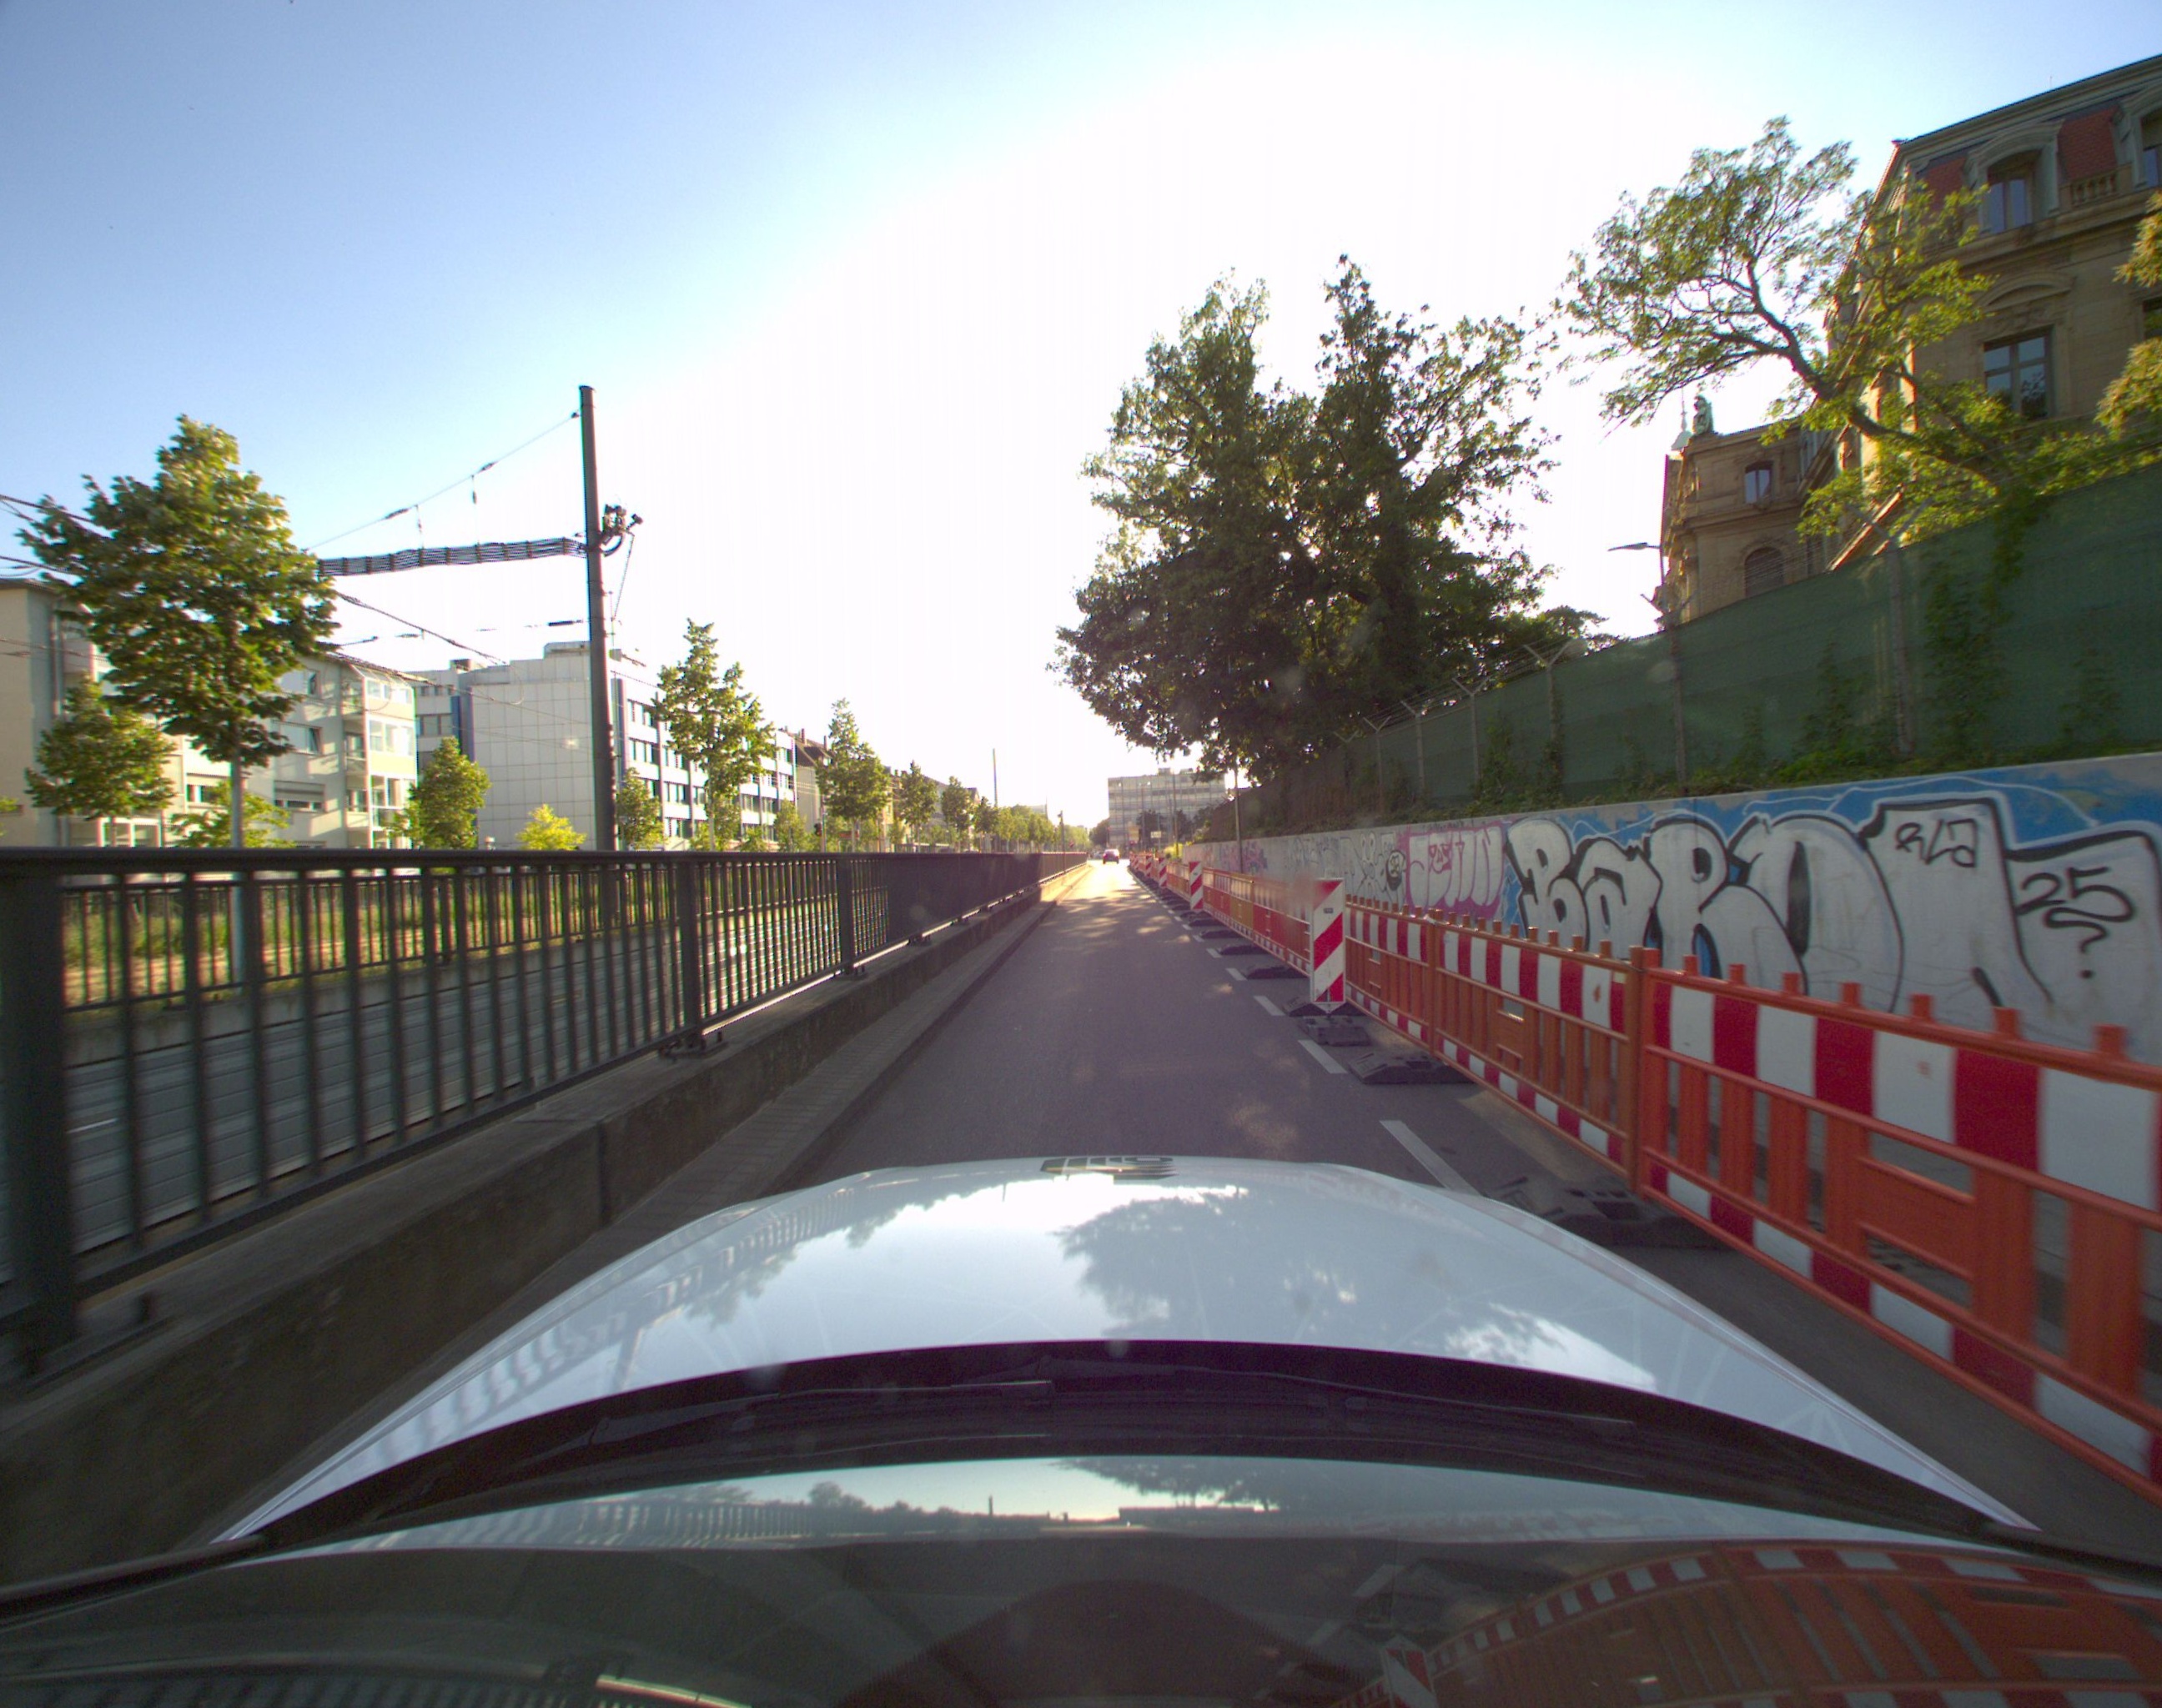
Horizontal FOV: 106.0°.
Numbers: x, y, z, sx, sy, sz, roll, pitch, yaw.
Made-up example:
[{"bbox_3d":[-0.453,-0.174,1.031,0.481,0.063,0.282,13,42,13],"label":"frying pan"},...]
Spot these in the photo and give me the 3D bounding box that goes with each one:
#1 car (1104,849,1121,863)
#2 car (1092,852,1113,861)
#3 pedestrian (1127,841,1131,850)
[{"bbox_3d":[3.917,0.268,101.400,1.997,1.659,4.003,-1,0,3],"label":"car"},{"bbox_3d":[4.499,0.483,166.810,3.961,1.640,2.006,-1,-1,11],"label":"car"},{"bbox_3d":[10.837,-1.891,183.491,0.887,2.112,0.719,-2,1,6],"label":"pedestrian"}]
